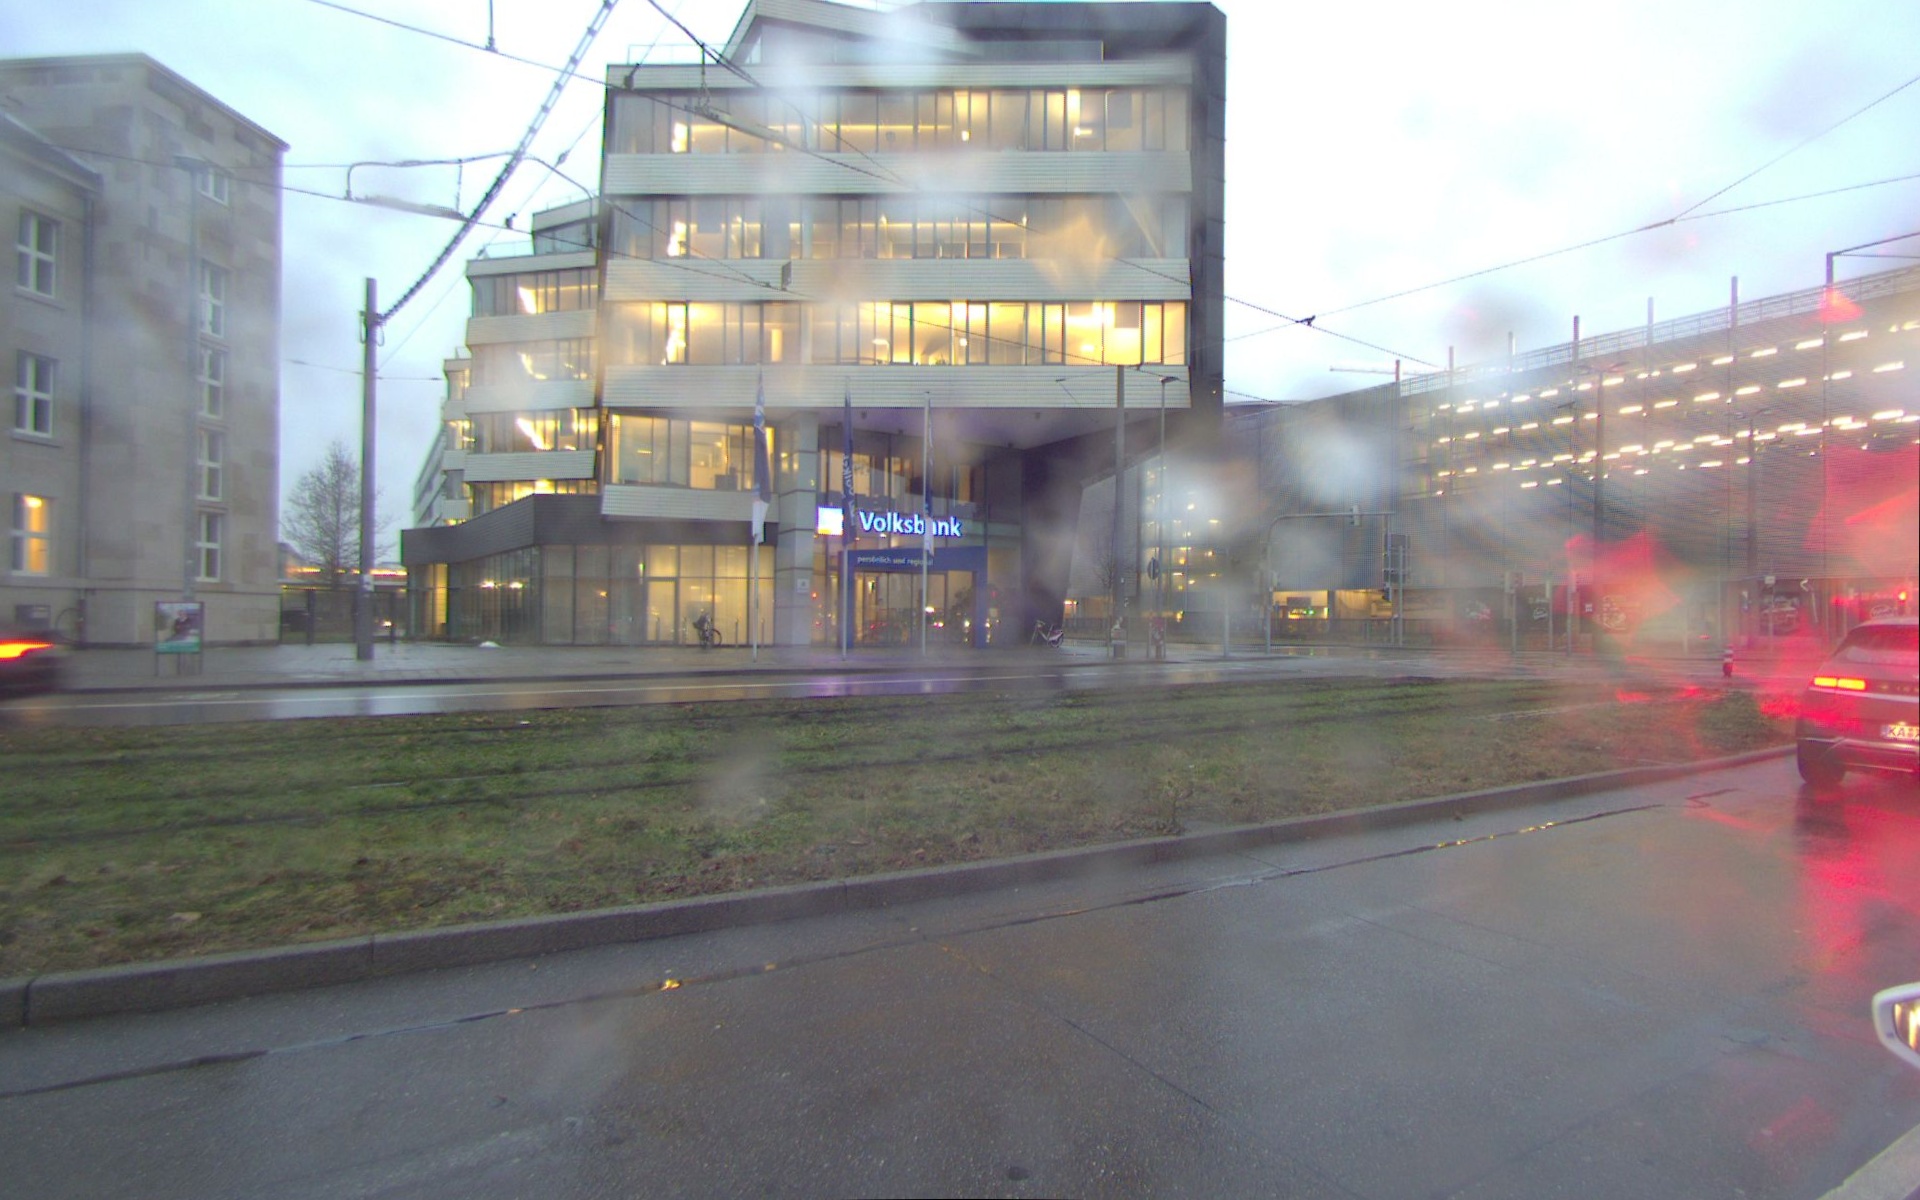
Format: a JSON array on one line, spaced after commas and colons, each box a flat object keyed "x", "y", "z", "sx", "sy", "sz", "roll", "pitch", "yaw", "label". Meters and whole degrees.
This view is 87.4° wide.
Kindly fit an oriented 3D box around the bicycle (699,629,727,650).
[{"x": -8.619, "y": 1.379, "z": 35.056, "sx": 0.896, "sy": 0.724, "sz": 0.483, "roll": 1, "pitch": -1, "yaw": -10, "label": "bicycle"}]

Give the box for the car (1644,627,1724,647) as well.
[{"x": 45.078, "y": 2.284, "z": 62.637, "sx": 1.664, "sy": 1.181, "sz": 3.735, "roll": 1, "pitch": -1, "yaw": -34, "label": "car"}]

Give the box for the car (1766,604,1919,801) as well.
[{"x": 9.325, "y": 0.871, "z": 9.383, "sx": 3.959, "sy": 1.595, "sz": 1.742, "roll": 1, "pitch": -1, "yaw": -34, "label": "car"}]

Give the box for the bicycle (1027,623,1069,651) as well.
[{"x": 3.525, "y": 1.466, "z": 40.100, "sx": 1.588, "sy": 1.105, "sz": 0.553, "roll": 1, "pitch": -1, "yaw": -23, "label": "bicycle"}]

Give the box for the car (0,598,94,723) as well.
[{"x": -13.184, "y": 0.687, "z": 11.658, "sx": 4.465, "sy": 1.419, "sz": 1.650, "roll": 1, "pitch": 1, "yaw": -28, "label": "car"}]

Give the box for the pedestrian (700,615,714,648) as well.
[{"x": -8.642, "y": 1.077, "z": 34.330, "sx": 0.380, "sy": 1.103, "sz": 0.325, "roll": 0, "pitch": -1, "yaw": 5, "label": "pedestrian"}]
